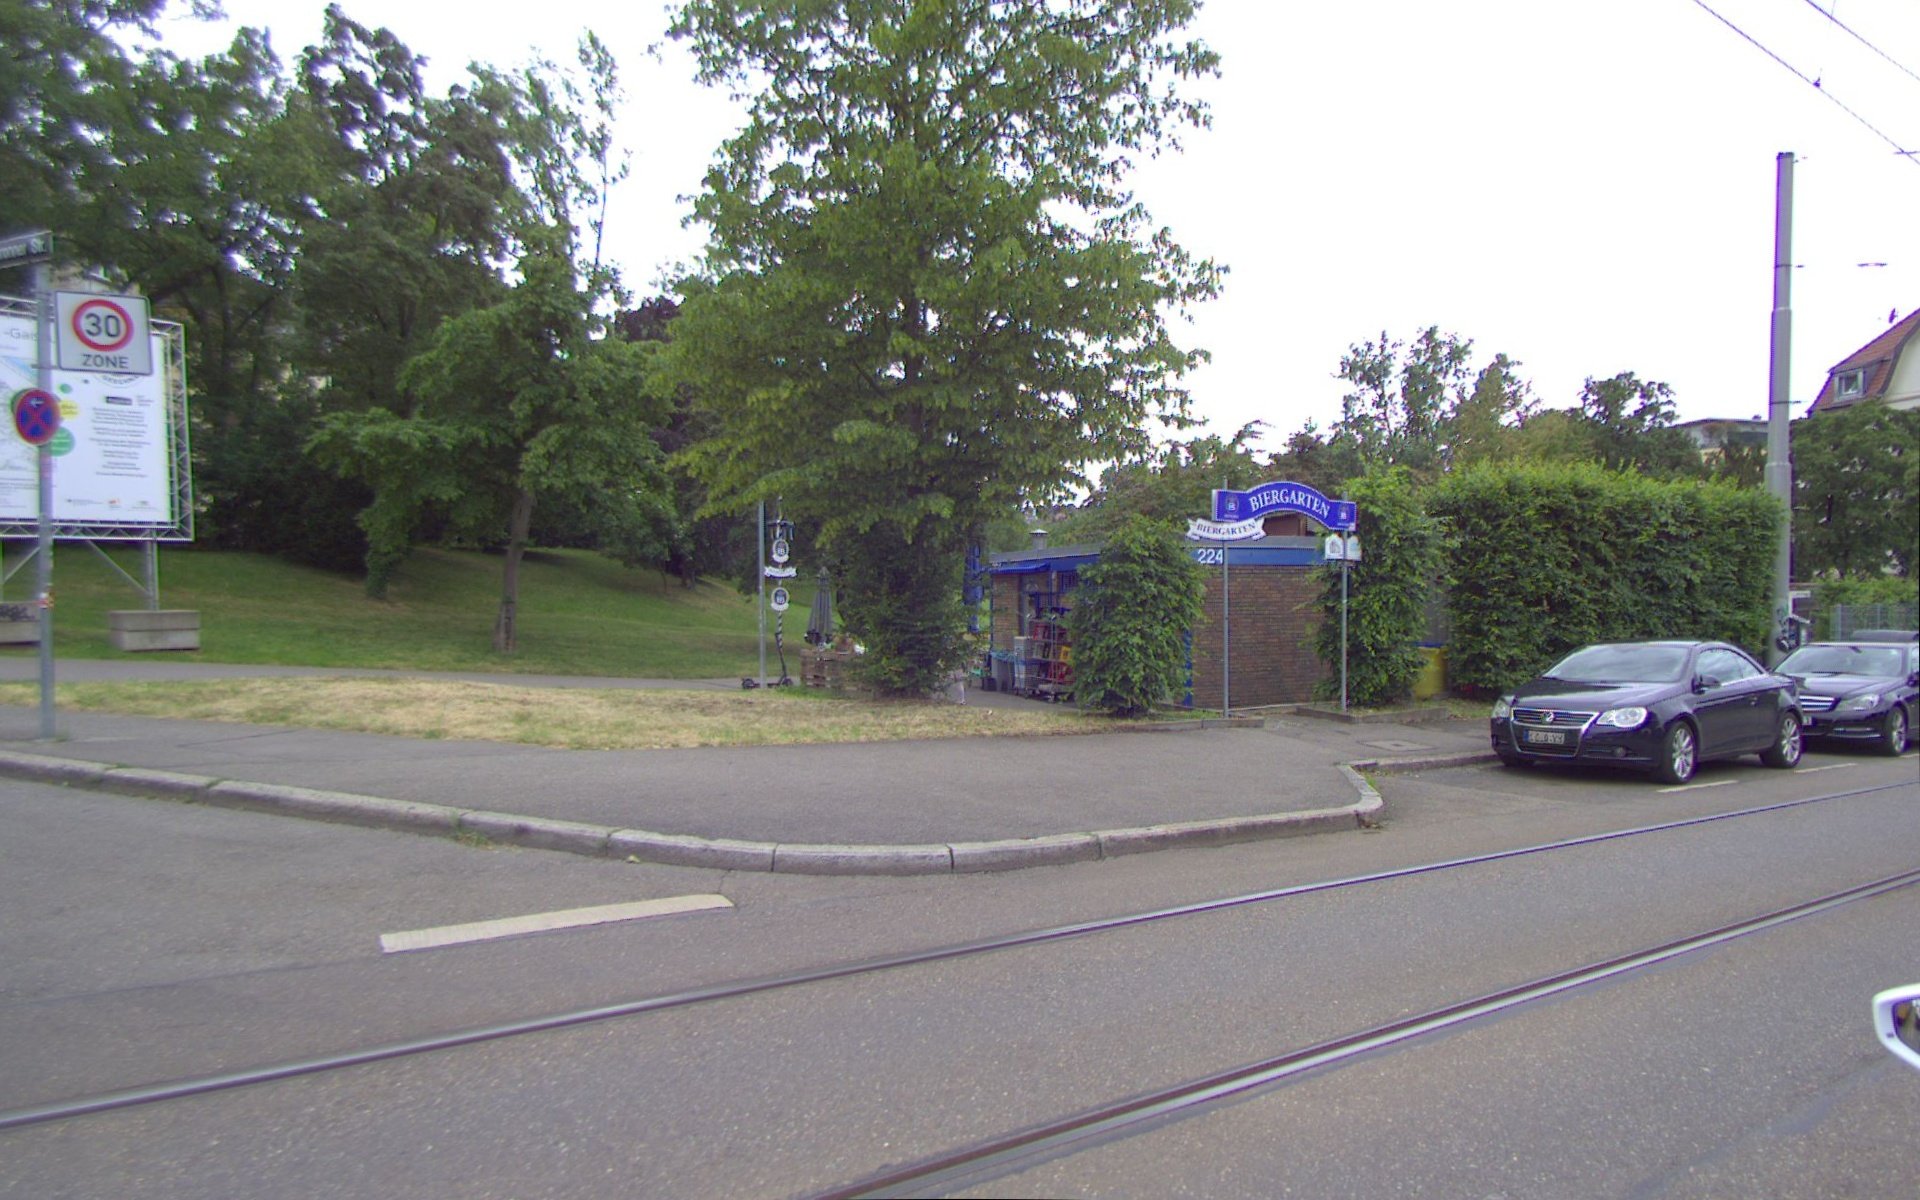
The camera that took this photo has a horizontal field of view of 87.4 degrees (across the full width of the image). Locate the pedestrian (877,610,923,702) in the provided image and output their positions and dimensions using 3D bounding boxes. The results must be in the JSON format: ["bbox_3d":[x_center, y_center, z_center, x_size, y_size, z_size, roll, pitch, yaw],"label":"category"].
[{"bbox_3d":[-1.124,1.049,18.979,0.652,1.686,0.622,2,0,14],"label":"pedestrian"}]

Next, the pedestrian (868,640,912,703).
[{"bbox_3d":[-1.284,1.296,18.357,0.652,1.078,0.483,2,0,14],"label":"pedestrian"}]

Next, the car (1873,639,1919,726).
[{"bbox_3d":[17.748,1.453,17.310,4.468,1.405,1.830,3,-2,-32],"label":"car"}]

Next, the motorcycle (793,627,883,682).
[{"bbox_3d":[-3.057,1.367,25.363,2.244,1.322,0.616,2,0,-40],"label":"motorcycle"}]

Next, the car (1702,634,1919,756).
[{"bbox_3d":[12.353,1.254,13.919,4.391,1.405,1.830,3,-2,-32],"label":"car"}]

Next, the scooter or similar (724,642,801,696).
[{"bbox_3d":[-3.925,1.374,20.013,1.404,1.032,0.488,3,-1,-30],"label":"scooter or similar"}]

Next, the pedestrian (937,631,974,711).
[{"bbox_3d":[-0.072,1.254,17.896,0.509,1.360,0.483,2,0,14],"label":"pedestrian"}]

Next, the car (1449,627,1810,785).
[{"bbox_3d":[7.480,1.092,11.131,4.115,1.423,1.780,3,-2,-32],"label":"car"}]
